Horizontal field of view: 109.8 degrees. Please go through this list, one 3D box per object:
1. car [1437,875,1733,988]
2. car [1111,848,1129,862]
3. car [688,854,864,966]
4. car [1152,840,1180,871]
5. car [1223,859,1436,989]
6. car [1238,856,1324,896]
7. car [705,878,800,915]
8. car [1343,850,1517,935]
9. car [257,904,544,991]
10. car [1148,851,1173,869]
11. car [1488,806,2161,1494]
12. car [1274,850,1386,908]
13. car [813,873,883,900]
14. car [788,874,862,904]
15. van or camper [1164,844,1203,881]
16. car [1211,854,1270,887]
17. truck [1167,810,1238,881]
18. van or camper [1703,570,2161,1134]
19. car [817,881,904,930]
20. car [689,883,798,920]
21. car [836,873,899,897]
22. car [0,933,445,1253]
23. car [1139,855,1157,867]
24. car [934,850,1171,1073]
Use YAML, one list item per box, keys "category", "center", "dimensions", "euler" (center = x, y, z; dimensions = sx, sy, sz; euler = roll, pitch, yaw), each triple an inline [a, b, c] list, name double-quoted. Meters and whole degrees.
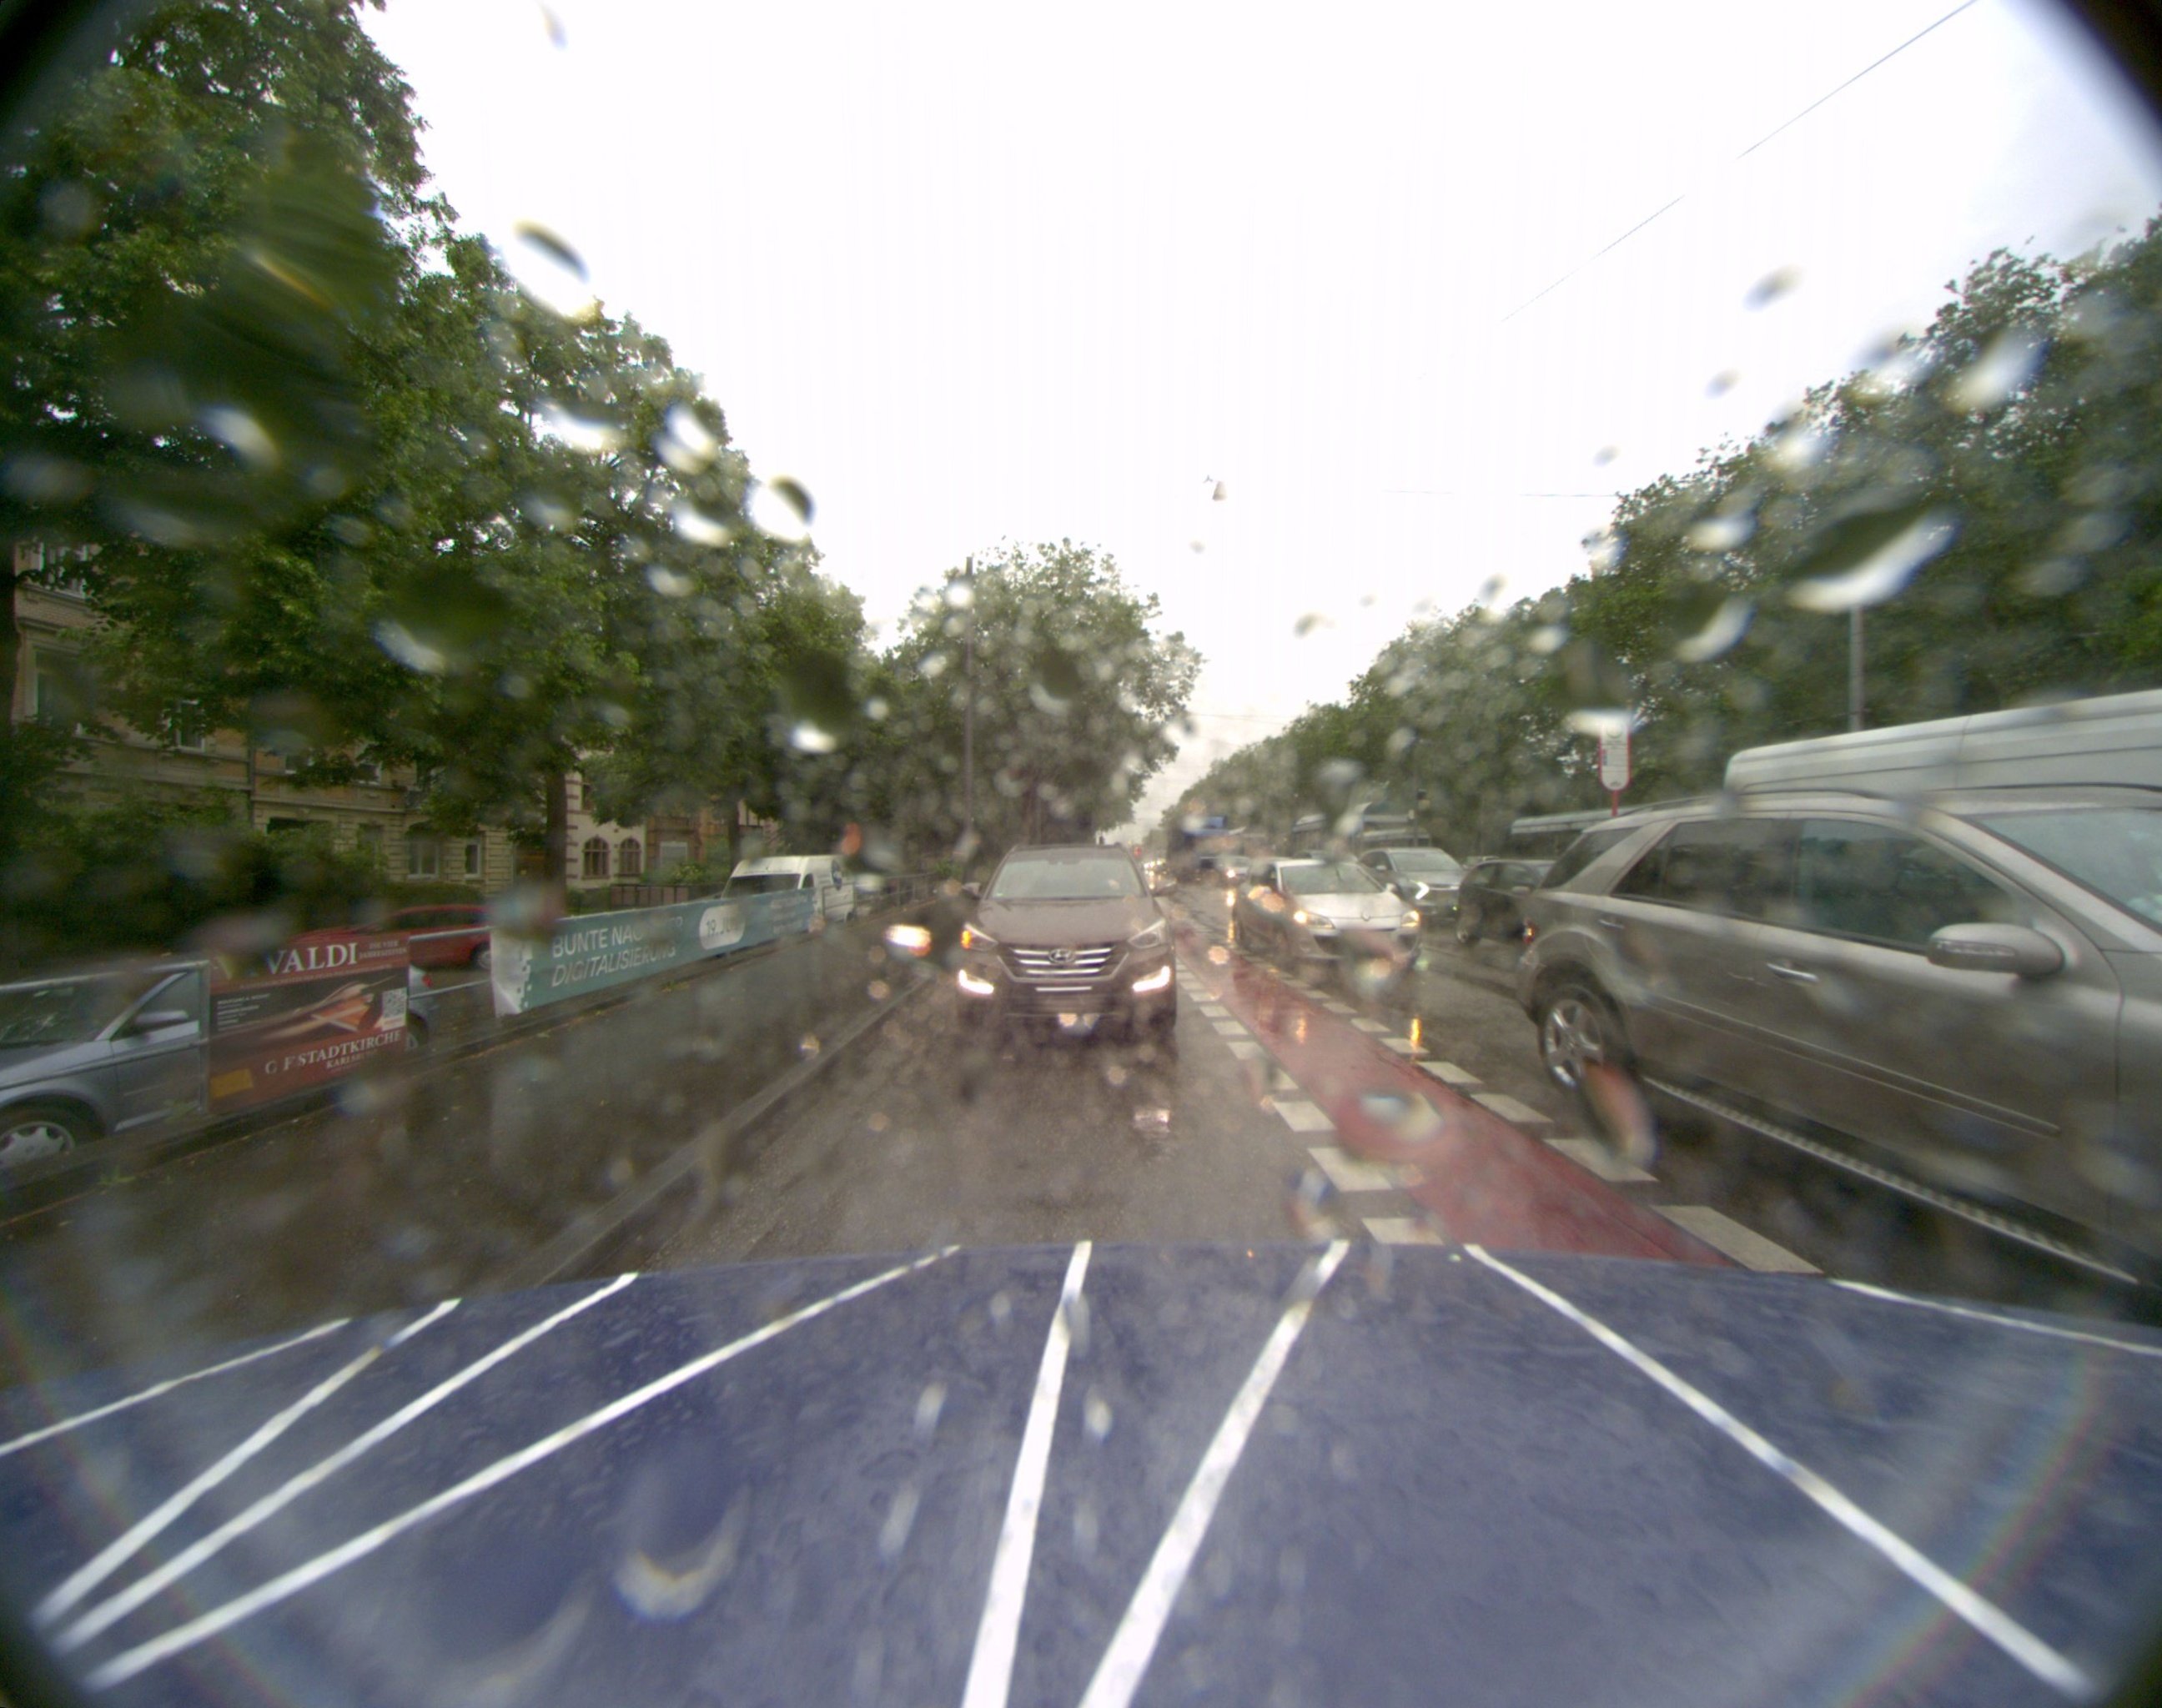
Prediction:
- category: "car"
  center: [6.745, 0.946, 10.767]
  dimensions: [1.467, 1.111, 4.087]
  euler: [-2, 0, 0]
- category: "car"
  center: [4.537, 0.144, 88.901]
  dimensions: [1.899, 1.569, 3.999]
  euler: [0, 0, 0]
- category: "car"
  center: [-7.703, 1.255, 20.096]
  dimensions: [2.214, 2.406, 6.157]
  euler: [-3, 0, -2]
- category: "car"
  center: [7.287, 0.105, 65.764]
  dimensions: [1.998, 2.412, 5.727]
  euler: [-2, 0, 3]
- category: "car"
  center: [3.376, 0.858, 11.156]
  dimensions: [1.772, 1.469, 4.000]
  euler: [-2, 0, 0]
- category: "car"
  center: [7.527, 0.788, 29.059]
  dimensions: [1.999, 1.386, 4.606]
  euler: [0, 0, -1]
- category: "car"
  center: [-15.525, 1.987, 36.000]
  dimensions: [4.005, 1.496, 1.655]
  euler: [-1, 1, -24]
- category: "car"
  center: [7.405, 0.728, 16.697]
  dimensions: [1.919, 1.614, 4.454]
  euler: [0, 0, 2]
- category: "car"
  center: [-14.624, 1.944, 16.740]
  dimensions: [4.439, 1.444, 1.894]
  euler: [0, -1, -32]
- category: "car"
  center: [7.618, 0.560, 73.326]
  dimensions: [1.998, 1.568, 4.000]
  euler: [-2, 0, 1]
- category: "car"
  center: [3.753, 0.725, 2.839]
  dimensions: [2.030, 1.760, 4.462]
  euler: [-2, 0, 0]
- category: "car"
  center: [7.569, 0.685, 23.581]
  dimensions: [1.999, 1.611, 4.319]
  euler: [-1, 0, -1]
- category: "car"
  center: [-15.415, 2.125, 50.280]
  dimensions: [4.007, 1.557, 1.995]
  euler: [-2, 1, -34]
- category: "car"
  center: [-15.720, 2.122, 46.665]
  dimensions: [4.006, 1.599, 1.821]
  euler: [-2, 1, -31]
- category: "van or camper"
  center: [7.646, 0.583, 57.115]
  dimensions: [1.998, 2.555, 6.431]
  euler: [-2, 0, 0]
- category: "car"
  center: [7.587, 0.746, 36.438]
  dimensions: [1.895, 1.478, 4.077]
  euler: [-1, 0, -1]
- category: "truck"
  center: [7.215, -0.489, 46.469]
  dimensions: [2.545, 3.866, 9.810]
  euler: [1, 0, -1]
- category: "van or camper"
  center: [7.063, -0.017, 4.334]
  dimensions: [2.164, 3.123, 5.850]
  euler: [0, 0, -1]
- category: "car"
  center: [-7.767, 1.767, 27.240]
  dimensions: [1.972, 1.345, 4.383]
  euler: [-3, 0, -3]
- category: "car"
  center: [-14.857, 2.052, 33.500]
  dimensions: [4.269, 1.372, 1.687]
  euler: [-1, 1, -27]
- category: "car"
  center: [-15.537, 2.239, 55.356]
  dimensions: [4.007, 1.455, 1.908]
  euler: [-2, 1, -34]
- category: "car"
  center: [-7.233, 1.592, 5.540]
  dimensions: [1.736, 1.530, 4.074]
  euler: [-2, 0, -1]
- category: "car"
  center: [7.030, 0.701, 80.028]
  dimensions: [1.467, 1.185, 3.615]
  euler: [-2, 0, 0]
- category: "car"
  center: [-0.151, 0.811, 7.601]
  dimensions: [1.756, 1.657, 3.678]
  euler: [-2, 0, 2]
